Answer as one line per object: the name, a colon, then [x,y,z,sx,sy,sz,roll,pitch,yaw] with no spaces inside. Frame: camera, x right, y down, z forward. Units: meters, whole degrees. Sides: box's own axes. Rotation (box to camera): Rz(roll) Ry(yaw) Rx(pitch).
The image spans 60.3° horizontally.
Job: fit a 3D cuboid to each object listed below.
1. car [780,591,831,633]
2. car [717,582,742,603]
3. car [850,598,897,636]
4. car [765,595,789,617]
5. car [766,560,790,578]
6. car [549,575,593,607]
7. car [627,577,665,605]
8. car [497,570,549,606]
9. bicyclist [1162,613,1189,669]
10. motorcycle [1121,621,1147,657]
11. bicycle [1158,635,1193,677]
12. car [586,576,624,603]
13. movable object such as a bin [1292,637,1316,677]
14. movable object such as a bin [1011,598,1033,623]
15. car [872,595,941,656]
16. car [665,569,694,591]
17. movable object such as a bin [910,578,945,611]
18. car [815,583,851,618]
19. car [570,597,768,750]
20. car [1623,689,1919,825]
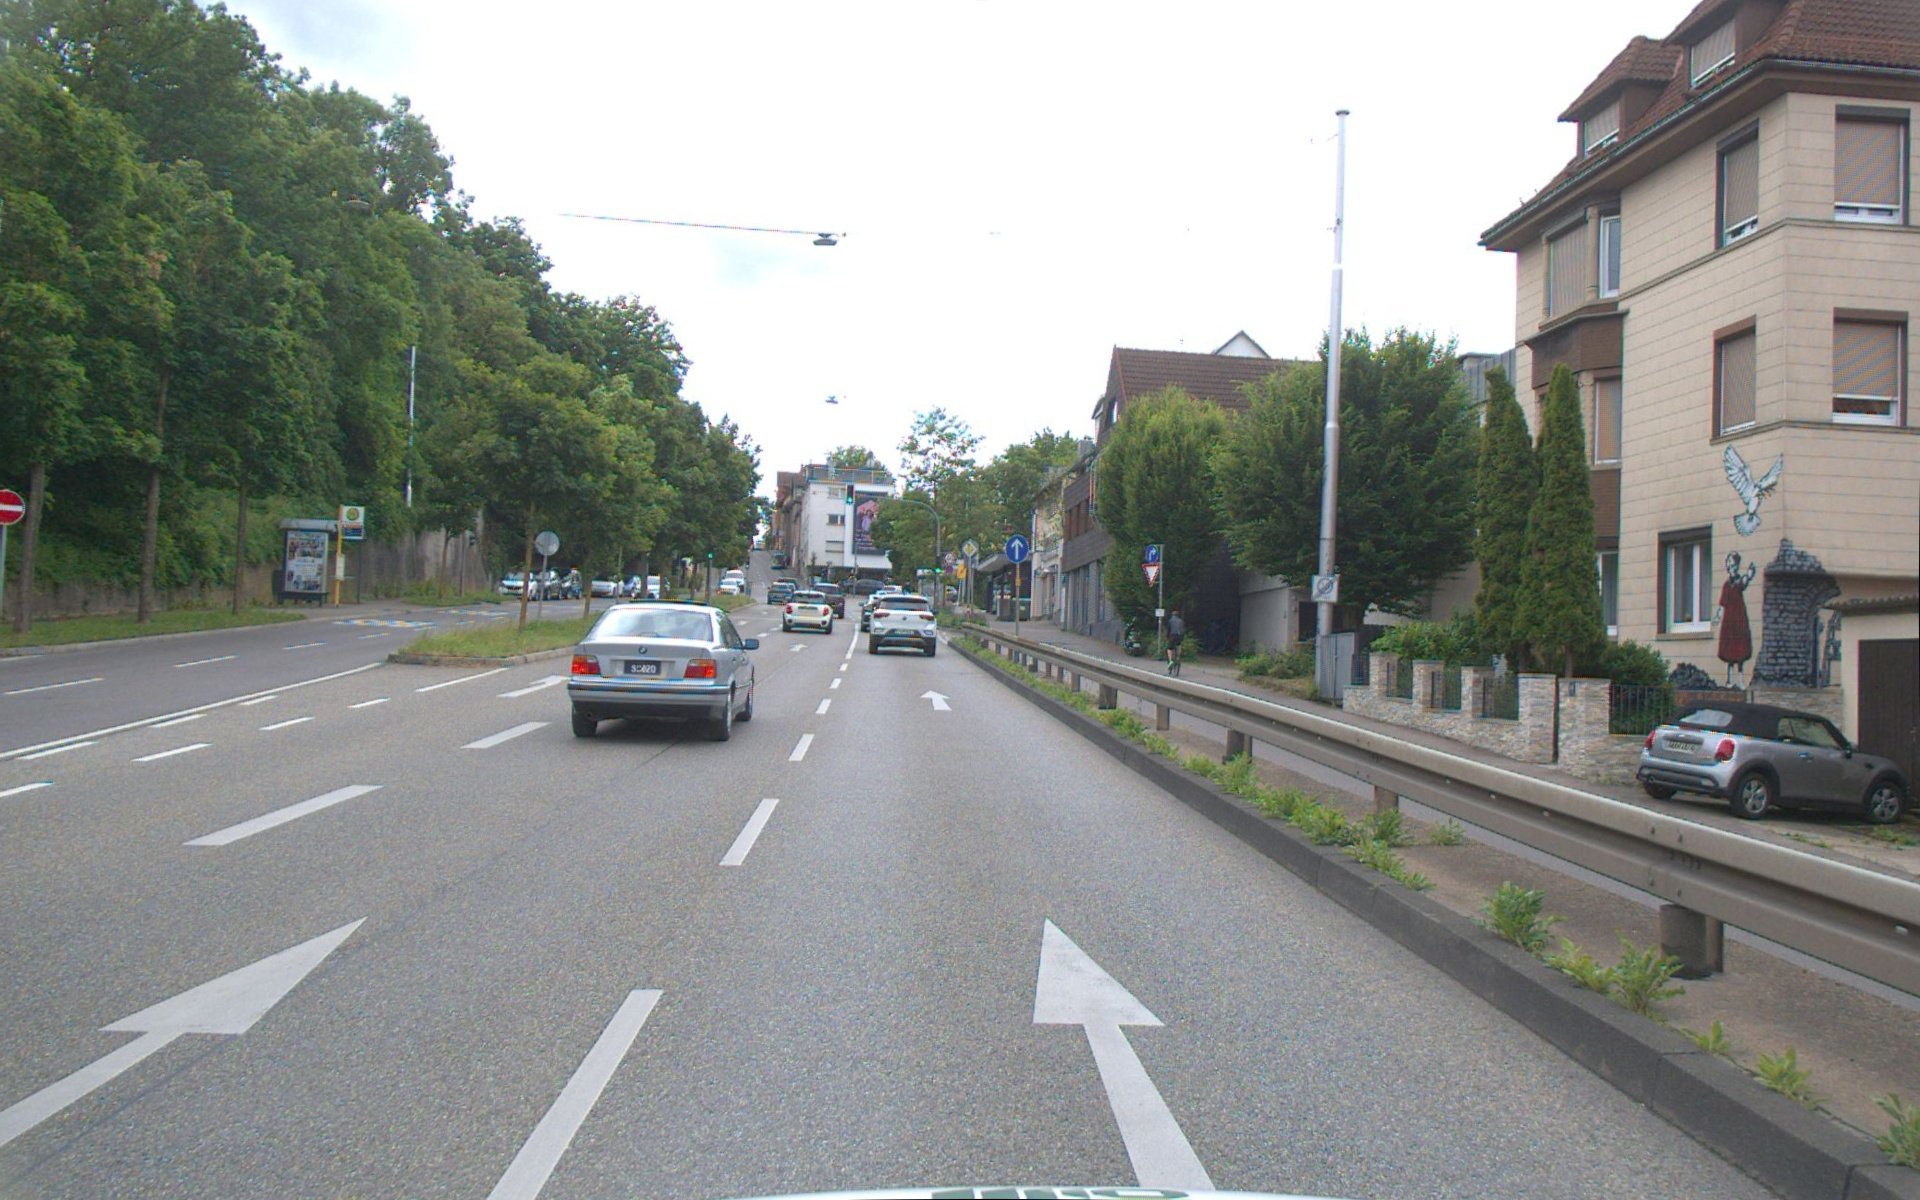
car: [-5.398,0.425,57.826,1.689,1.400,3.452,-1,0,-5]
car: [-19.302,-0.620,138.519,1.824,1.567,4.275,4,1,-5]
car: [-3.333,0.656,63.482,1.689,1.400,3.453,-1,0,-5]
car: [-13.217,0.434,119.817,1.689,1.610,3.452,0,0,-6]
car: [-22.446,-3.798,204.242,2.460,2.048,5.178,4,1,-3]
car: [-22.809,-0.537,97.018,1.824,1.699,4.275,4,1,-5]
car: [-20.487,-0.588,108.053,1.824,1.699,4.276,4,1,-4]
car: [-22.898,-0.655,86.812,1.824,1.699,4.275,4,1,-5]
bicyclist: [6.120,1.159,46.948,0.555,1.551,0.958,-1,1,-5]
motorcycle: [5.980,1.335,56.986,0.596,1.182,2.040,1,1,-3]
bicycle: [6.124,1.575,47.039,0.555,1.081,2.003,-1,1,-5]
car: [-23.397,-0.698,109.126,1.824,1.621,4.275,4,1,-5]
movable object such as a bin: [9.721,1.615,46.697,0.484,1.076,0.538,3,0,-3]
movable object such as a bin: [3.714,0.641,99.714,1.172,1.433,0.710,4,0,-4]
car: [-1.450,0.659,43.866,1.761,1.545,3.454,-1,0,-3]
car: [-21.854,-1.604,129.019,1.824,1.567,4.275,4,1,-5]
movable object such as a bin: [-2.015,-0.322,102.266,1.858,1.902,1.524,4,0,-12]
car: [-6.281,0.018,81.468,1.689,1.668,3.452,0,0,-6]
car: [-3.110,0.718,18.466,1.602,1.407,4.616,3,0,-4]
car: [11.058,2.126,22.432,3.550,1.459,1.695,6,-1,-20]
